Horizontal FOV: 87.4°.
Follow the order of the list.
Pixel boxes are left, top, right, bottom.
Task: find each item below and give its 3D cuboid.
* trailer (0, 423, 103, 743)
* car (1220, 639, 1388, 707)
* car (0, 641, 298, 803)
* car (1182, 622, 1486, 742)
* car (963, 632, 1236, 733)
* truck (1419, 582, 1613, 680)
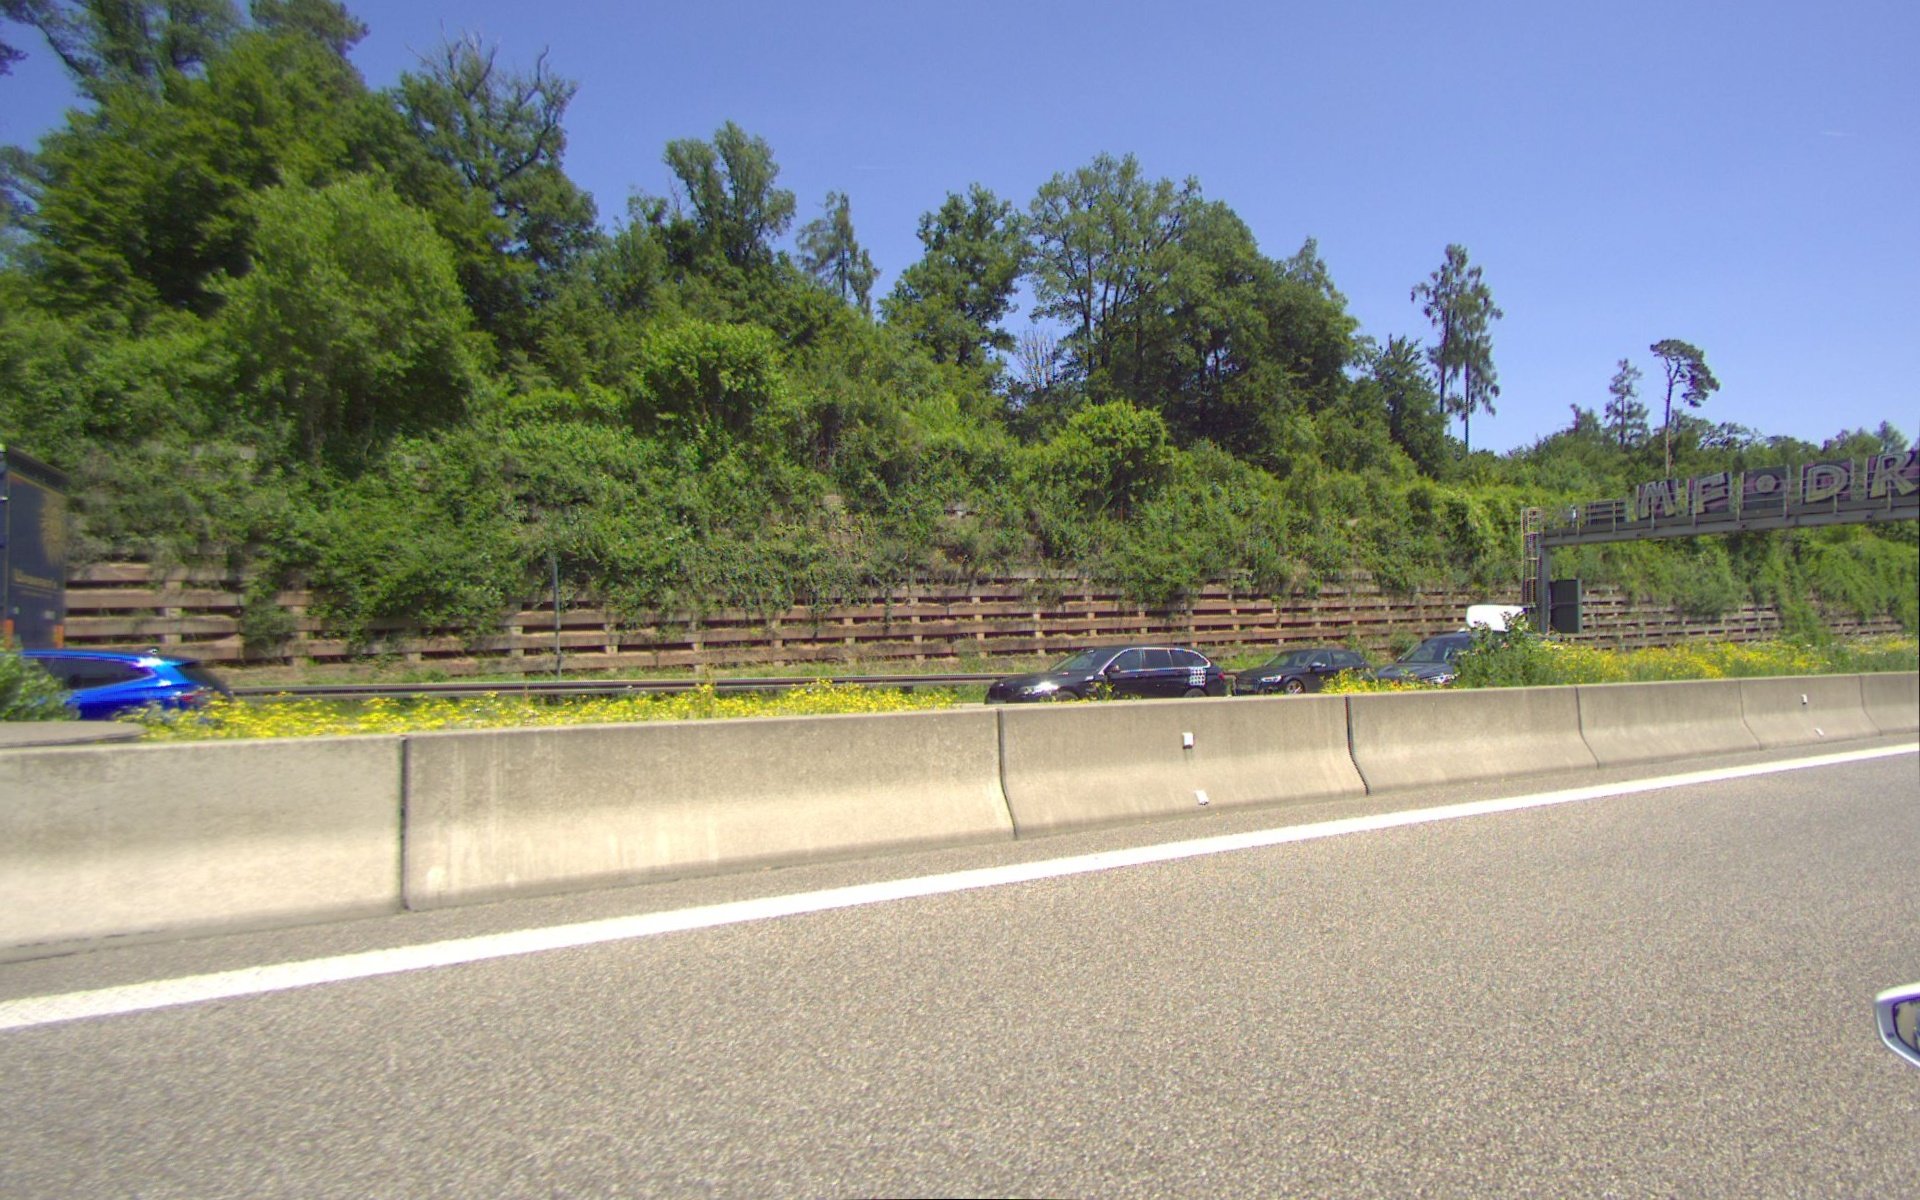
[{"bbox_3d":[-19.461,-0.267,11.453,14.281,4.262,2.967,1,-3,-28],"label":"trailer"},{"bbox_3d":[9.004,1.842,26.215,4.320,1.625,1.791,1,-2,-31],"label":"car"},{"bbox_3d":[-9.259,1.235,10.756,3.508,1.555,1.508,1,-2,-31],"label":"car"},{"bbox_3d":[5.909,1.180,15.752,4.658,1.626,1.994,1,-2,-31],"label":"car"},{"bbox_3d":[2.615,1.426,18.504,4.806,1.626,1.994,1,-2,-31],"label":"car"},{"bbox_3d":[18.899,1.039,34.043,6.979,3.032,2.567,1,-2,-31],"label":"truck"}]
